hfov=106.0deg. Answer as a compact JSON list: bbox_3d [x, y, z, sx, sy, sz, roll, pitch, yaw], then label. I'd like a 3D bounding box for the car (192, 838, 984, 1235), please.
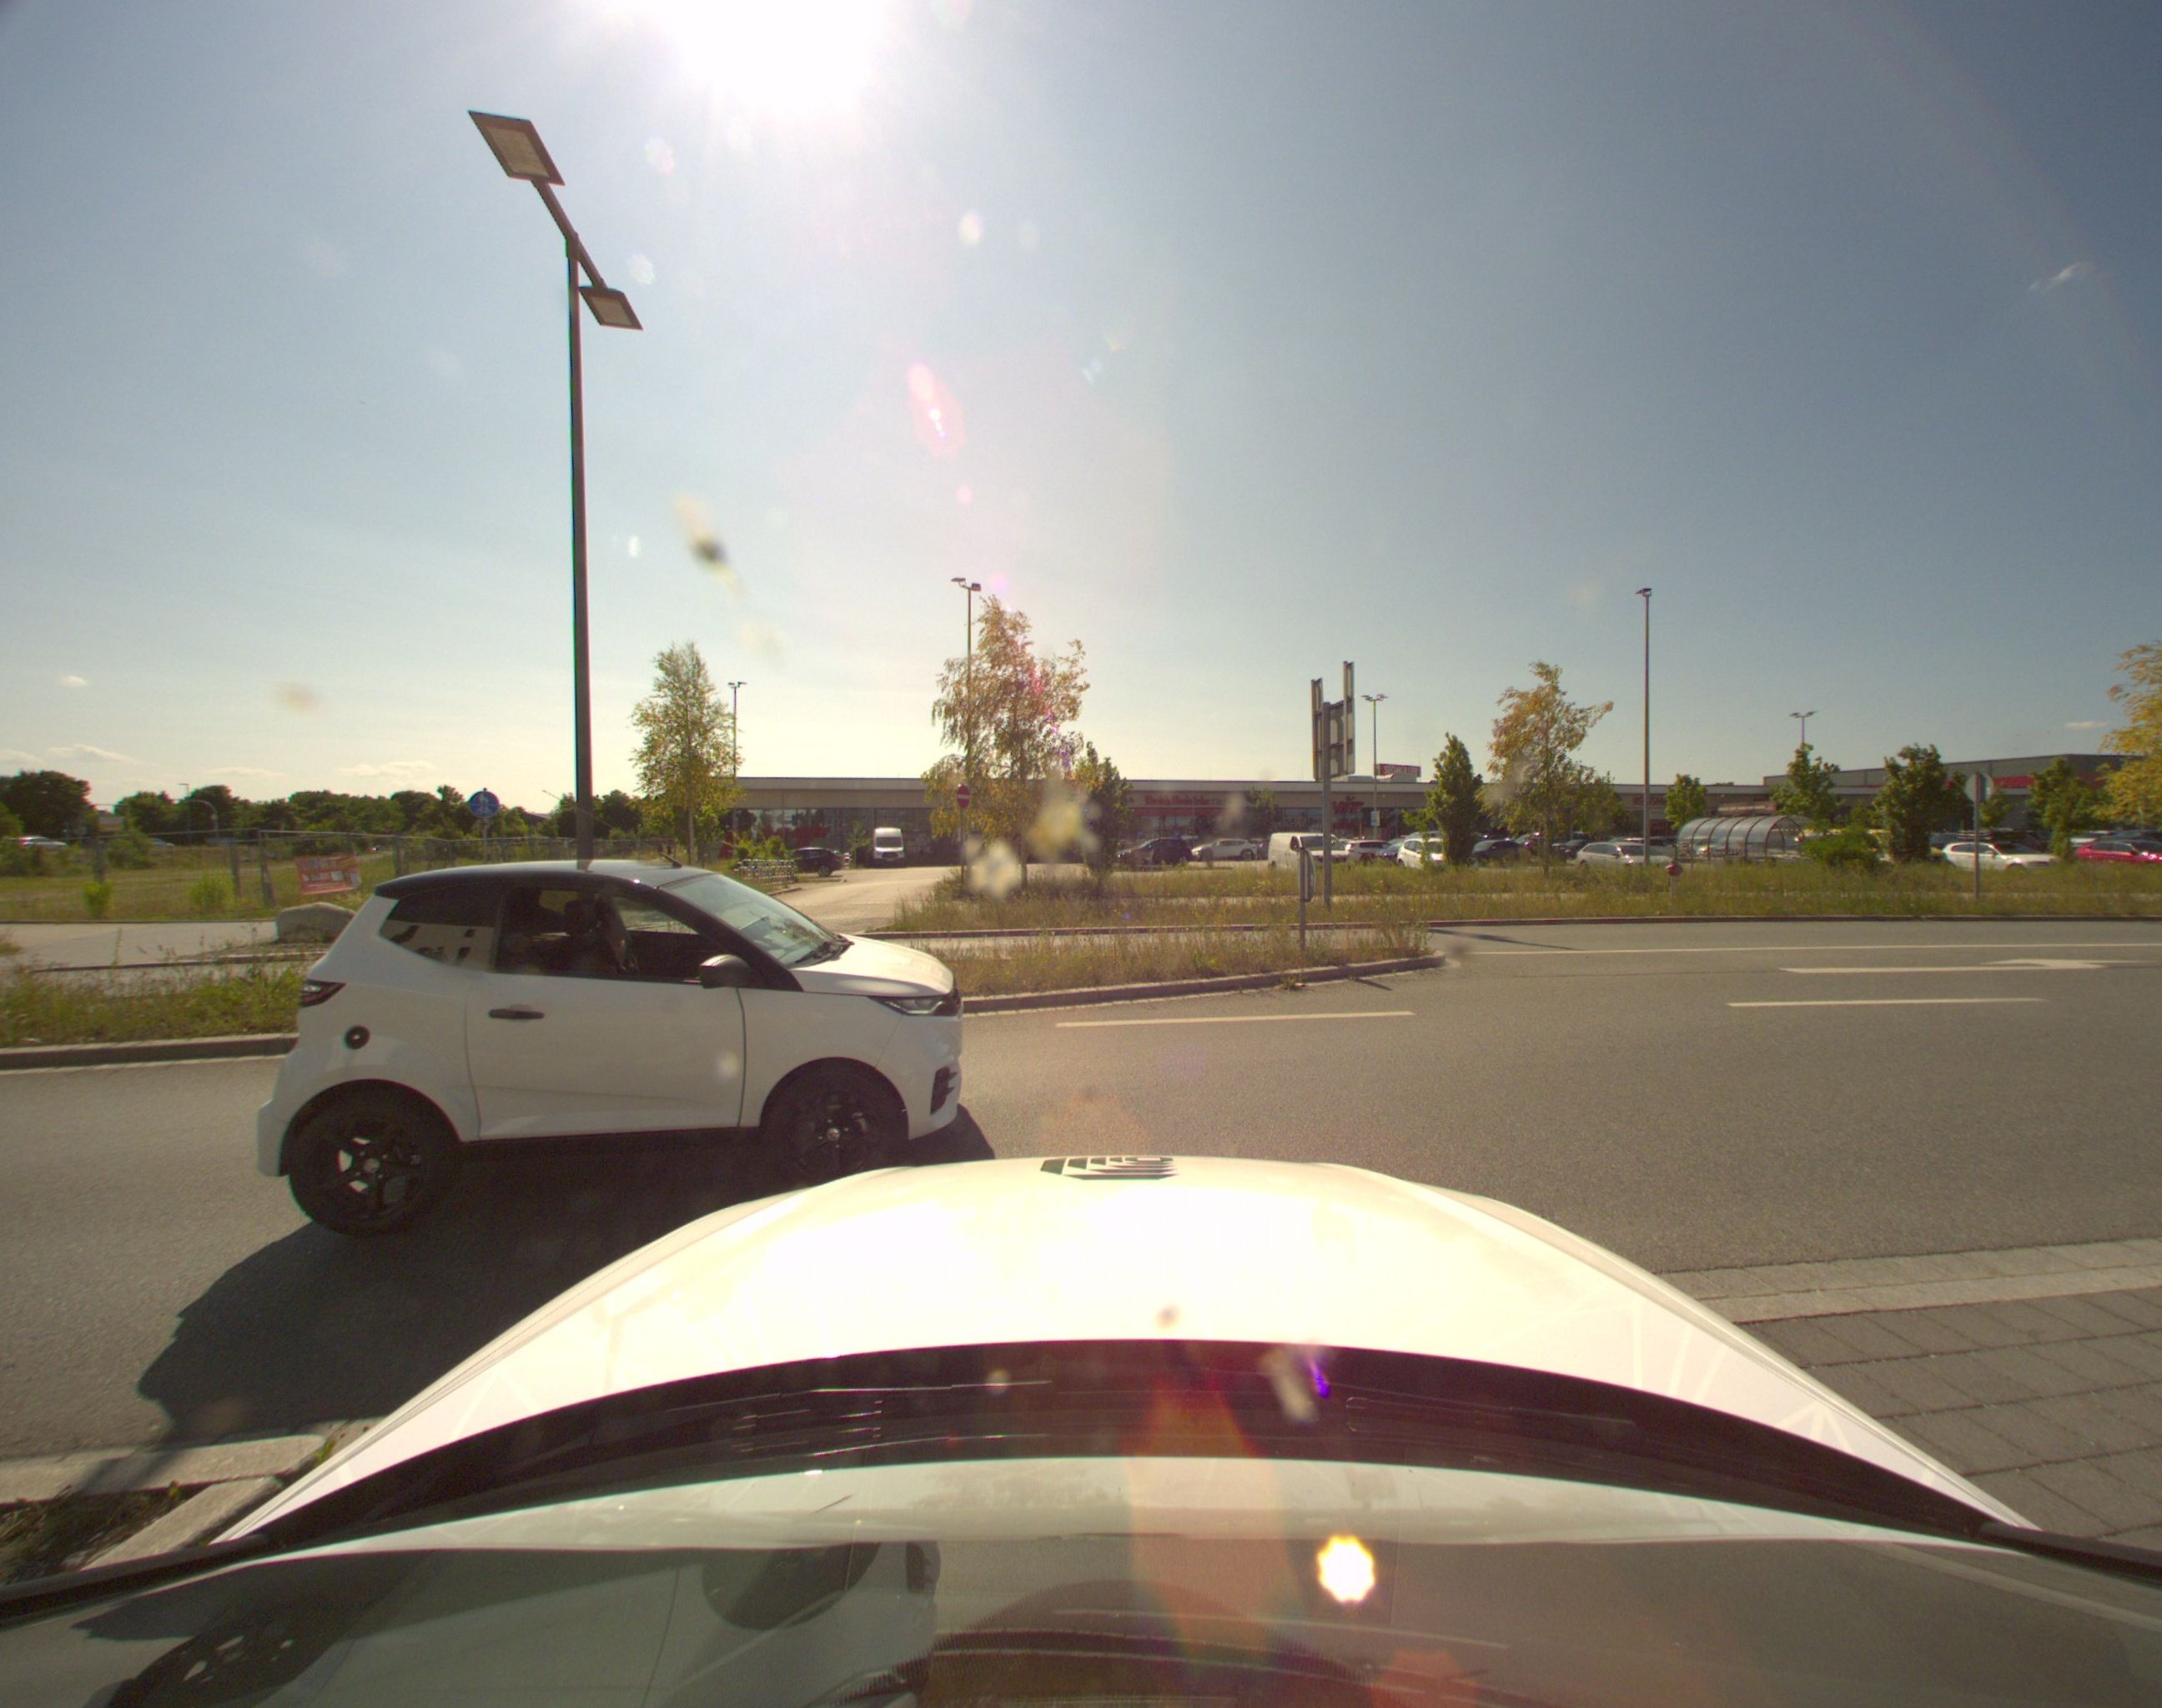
[{"bbox_3d":[-2.003,0.689,4.089,2.989,1.489,1.475,0,3,-9],"label":"car"}]

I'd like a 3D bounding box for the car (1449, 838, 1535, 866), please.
[{"bbox_3d":[22.813,-0.138,45.267,3.988,1.508,1.868,0,0,-11],"label":"car"}]

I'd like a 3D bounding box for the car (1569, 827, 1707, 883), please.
[{"bbox_3d":[21.928,-0.006,32.369,2.149,2.013,5.119,0,1,2],"label":"car"}]

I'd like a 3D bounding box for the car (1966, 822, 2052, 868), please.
[{"bbox_3d":[58.127,-0.570,51.015,4.482,2.821,1.988,0,0,-18],"label":"car"}]

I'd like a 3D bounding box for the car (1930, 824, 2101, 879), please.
[{"bbox_3d":[36.682,-0.134,32.170,1.928,2.013,4.417,0,1,5],"label":"car"}]

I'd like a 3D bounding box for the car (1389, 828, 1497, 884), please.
[{"bbox_3d":[14.136,0.029,32.166,2.149,2.013,5.119,0,1,2],"label":"car"}]

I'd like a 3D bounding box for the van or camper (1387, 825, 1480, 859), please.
[{"bbox_3d":[21.885,-0.742,50.591,5.036,2.013,1.993,-1,1,-10],"label":"van or camper"}]

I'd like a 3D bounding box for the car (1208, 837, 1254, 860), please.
[{"bbox_3d":[11.241,-0.438,61.343,1.996,1.707,3.983,-1,1,-13],"label":"car"}]

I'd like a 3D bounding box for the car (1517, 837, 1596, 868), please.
[{"bbox_3d":[32.738,-0.135,56.150,4.467,2.102,1.995,0,0,-8],"label":"car"}]

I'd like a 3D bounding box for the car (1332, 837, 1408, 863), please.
[{"bbox_3d":[16.248,-0.229,45.822,3.727,1.390,1.723,-1,1,-16],"label":"car"}]

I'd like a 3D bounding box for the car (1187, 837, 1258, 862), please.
[{"bbox_3d":[9.744,-0.320,56.109,4.470,1.706,1.869,0,0,-9],"label":"car"}]

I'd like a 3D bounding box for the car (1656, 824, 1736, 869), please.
[{"bbox_3d":[39.662,-0.500,52.541,4.482,2.821,1.988,0,0,-18],"label":"car"}]

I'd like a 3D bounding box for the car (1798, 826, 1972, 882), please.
[{"bbox_3d":[31.648,-0.048,32.343,2.147,2.013,5.123,0,1,5],"label":"car"}]

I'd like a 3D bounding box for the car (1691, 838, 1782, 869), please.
[{"bbox_3d":[40.009,-0.052,49.741,4.473,1.863,1.992,0,0,-12],"label":"car"}]

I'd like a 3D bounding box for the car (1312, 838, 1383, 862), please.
[{"bbox_3d":[15.991,-0.268,48.853,3.727,1.390,1.723,-1,1,-16],"label":"car"}]

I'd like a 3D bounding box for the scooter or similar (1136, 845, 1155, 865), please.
[{"bbox_3d":[3.501,0.035,44.231,0.942,1.079,0.650,-1,1,-8],"label":"scooter or similar"}]

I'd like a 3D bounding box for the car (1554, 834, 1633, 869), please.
[{"bbox_3d":[33.394,-0.162,53.123,4.482,2.191,1.988,0,0,-18],"label":"car"}]

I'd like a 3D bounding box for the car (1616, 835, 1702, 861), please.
[{"bbox_3d":[34.189,-0.352,48.194,4.336,1.520,1.650,0,0,-11],"label":"car"}]

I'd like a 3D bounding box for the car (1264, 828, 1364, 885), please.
[{"bbox_3d":[8.939,0.050,31.779,2.077,2.013,5.221,-1,1,-4],"label":"car"}]

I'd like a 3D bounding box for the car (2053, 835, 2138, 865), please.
[{"bbox_3d":[70.991,-0.274,57.020,4.473,2.037,1.992,0,0,-12],"label":"car"}]

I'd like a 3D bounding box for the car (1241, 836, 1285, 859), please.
[{"bbox_3d":[13.814,-0.499,62.171,1.993,1.707,3.989,-1,1,-9],"label":"car"}]

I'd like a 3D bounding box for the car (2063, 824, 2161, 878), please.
[{"bbox_3d":[41.526,-0.147,31.699,1.867,2.013,4.147,0,1,7],"label":"car"}]

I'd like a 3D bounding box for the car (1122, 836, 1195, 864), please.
[{"bbox_3d":[4.348,-0.239,46.110,3.796,1.508,1.725,-1,1,-12],"label":"car"}]

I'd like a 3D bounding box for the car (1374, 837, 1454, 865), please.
[{"bbox_3d":[17.761,-0.181,43.465,3.727,1.390,1.723,-1,1,-16],"label":"car"}]

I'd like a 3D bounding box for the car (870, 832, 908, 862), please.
[{"bbox_3d":[-13.338,-0.509,56.245,2.227,1.977,6.661,-1,1,-16],"label":"car"}]

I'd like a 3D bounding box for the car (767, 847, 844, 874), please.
[{"bbox_3d":[-14.807,0.341,44.026,3.840,1.423,1.762,0,0,-16],"label":"car"}]

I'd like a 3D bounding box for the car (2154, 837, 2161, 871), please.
[{"bbox_3d":[60.176,-0.009,43.420,4.304,1.784,1.992,0,0,-12],"label":"car"}]
